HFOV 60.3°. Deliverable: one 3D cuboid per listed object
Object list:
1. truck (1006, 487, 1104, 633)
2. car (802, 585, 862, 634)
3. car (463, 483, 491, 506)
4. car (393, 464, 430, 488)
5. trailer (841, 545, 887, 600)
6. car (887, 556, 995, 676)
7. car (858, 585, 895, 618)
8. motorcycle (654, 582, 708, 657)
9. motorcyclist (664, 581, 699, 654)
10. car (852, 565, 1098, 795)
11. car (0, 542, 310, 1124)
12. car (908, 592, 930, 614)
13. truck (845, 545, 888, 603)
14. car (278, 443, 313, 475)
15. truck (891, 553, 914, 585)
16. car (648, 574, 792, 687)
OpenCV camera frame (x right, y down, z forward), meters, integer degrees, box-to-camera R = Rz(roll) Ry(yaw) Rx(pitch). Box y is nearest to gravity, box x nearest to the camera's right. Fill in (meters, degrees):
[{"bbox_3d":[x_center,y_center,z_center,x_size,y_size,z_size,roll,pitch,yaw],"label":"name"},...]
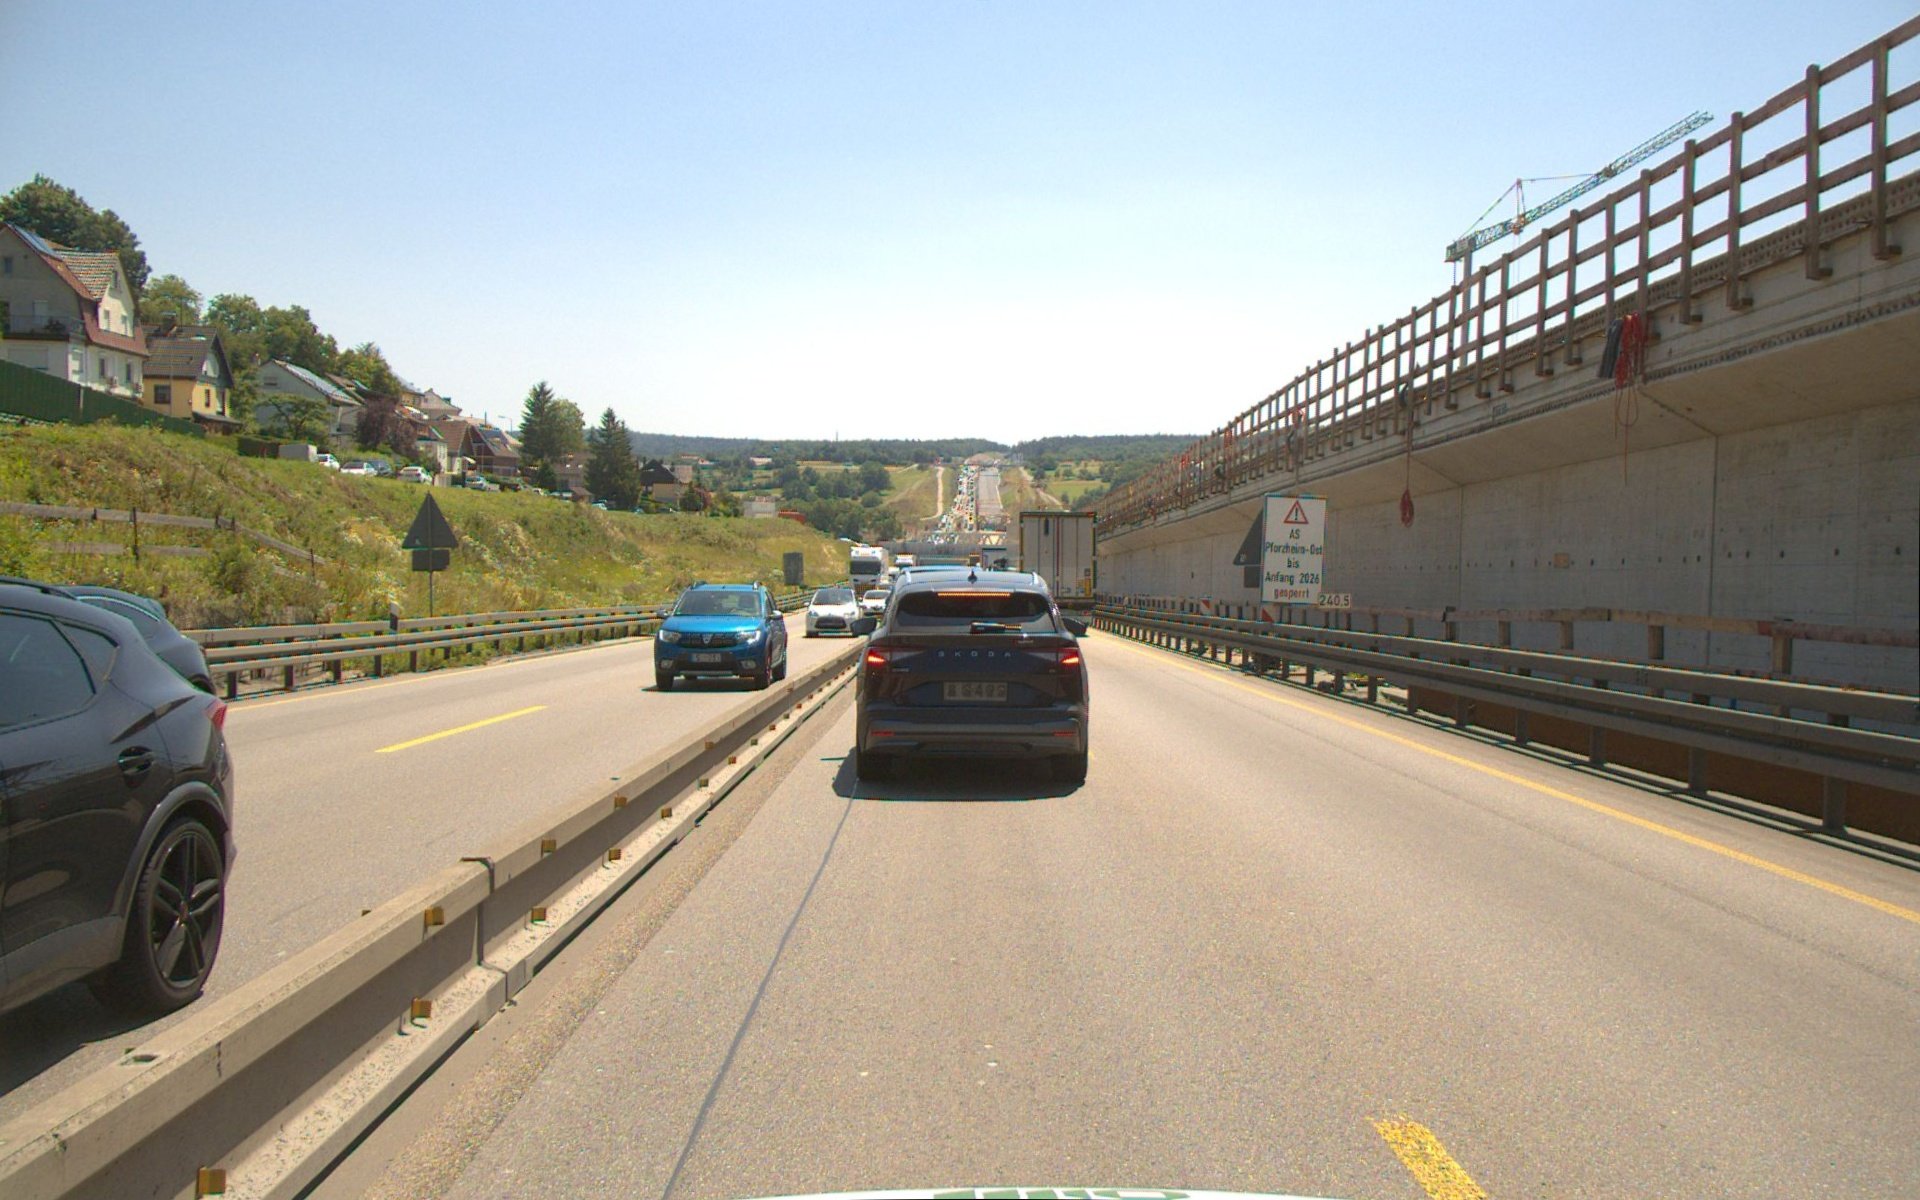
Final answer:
[{"bbox_3d":[3.253,-1.264,59.803,2.787,4.696,11.810,1,-1,0],"label":"truck"},{"bbox_3d":[-4.061,0.279,52.965,1.730,1.512,3.864,0,0,-2],"label":"car"},{"bbox_3d":[-41.573,-9.046,142.363,1.890,1.758,3.990,0,0,-11],"label":"car"},{"bbox_3d":[-40.647,-9.183,122.637,1.958,1.342,3.989,4,-1,-11],"label":"car"},{"bbox_3d":[-7.832,-2.155,133.735,3.158,4.231,13.392,0,0,-6],"label":"trailer"},{"bbox_3d":[-0.401,0.258,29.566,1.714,1.928,3.753,3,0,-3],"label":"car"},{"bbox_3d":[-3.943,0.046,78.497,1.657,1.512,3.748,0,0,-2],"label":"car"},{"bbox_3d":[-6.222,0.415,36.993,0.774,1.578,2.621,1,1,-1],"label":"motorcycle"},{"bbox_3d":[-6.244,0.394,37.109,0.652,1.613,0.736,0,-1,-1],"label":"motorcyclist"},{"bbox_3d":[0.062,0.568,13.667,1.746,1.625,3.754,0,0,-2],"label":"car"},{"bbox_3d":[-3.465,0.614,4.411,1.805,1.557,4.293,1,0,-1],"label":"car"},{"bbox_3d":[-3.384,0.237,137.888,1.739,1.852,4.433,0,0,0],"label":"car"},{"bbox_3d":[-7.265,-1.954,127.942,3.118,4.312,6.477,1,0,-5],"label":"truck"},{"bbox_3d":[-36.586,-7.761,91.111,1.703,1.422,3.776,2,0,-22],"label":"car"},{"bbox_3d":[-7.917,-4.249,228.584,2.696,4.301,8.099,1,0,0],"label":"truck"},{"bbox_3d":[-3.673,0.431,25.925,1.728,1.638,3.891,0,0,-1],"label":"car"}]
